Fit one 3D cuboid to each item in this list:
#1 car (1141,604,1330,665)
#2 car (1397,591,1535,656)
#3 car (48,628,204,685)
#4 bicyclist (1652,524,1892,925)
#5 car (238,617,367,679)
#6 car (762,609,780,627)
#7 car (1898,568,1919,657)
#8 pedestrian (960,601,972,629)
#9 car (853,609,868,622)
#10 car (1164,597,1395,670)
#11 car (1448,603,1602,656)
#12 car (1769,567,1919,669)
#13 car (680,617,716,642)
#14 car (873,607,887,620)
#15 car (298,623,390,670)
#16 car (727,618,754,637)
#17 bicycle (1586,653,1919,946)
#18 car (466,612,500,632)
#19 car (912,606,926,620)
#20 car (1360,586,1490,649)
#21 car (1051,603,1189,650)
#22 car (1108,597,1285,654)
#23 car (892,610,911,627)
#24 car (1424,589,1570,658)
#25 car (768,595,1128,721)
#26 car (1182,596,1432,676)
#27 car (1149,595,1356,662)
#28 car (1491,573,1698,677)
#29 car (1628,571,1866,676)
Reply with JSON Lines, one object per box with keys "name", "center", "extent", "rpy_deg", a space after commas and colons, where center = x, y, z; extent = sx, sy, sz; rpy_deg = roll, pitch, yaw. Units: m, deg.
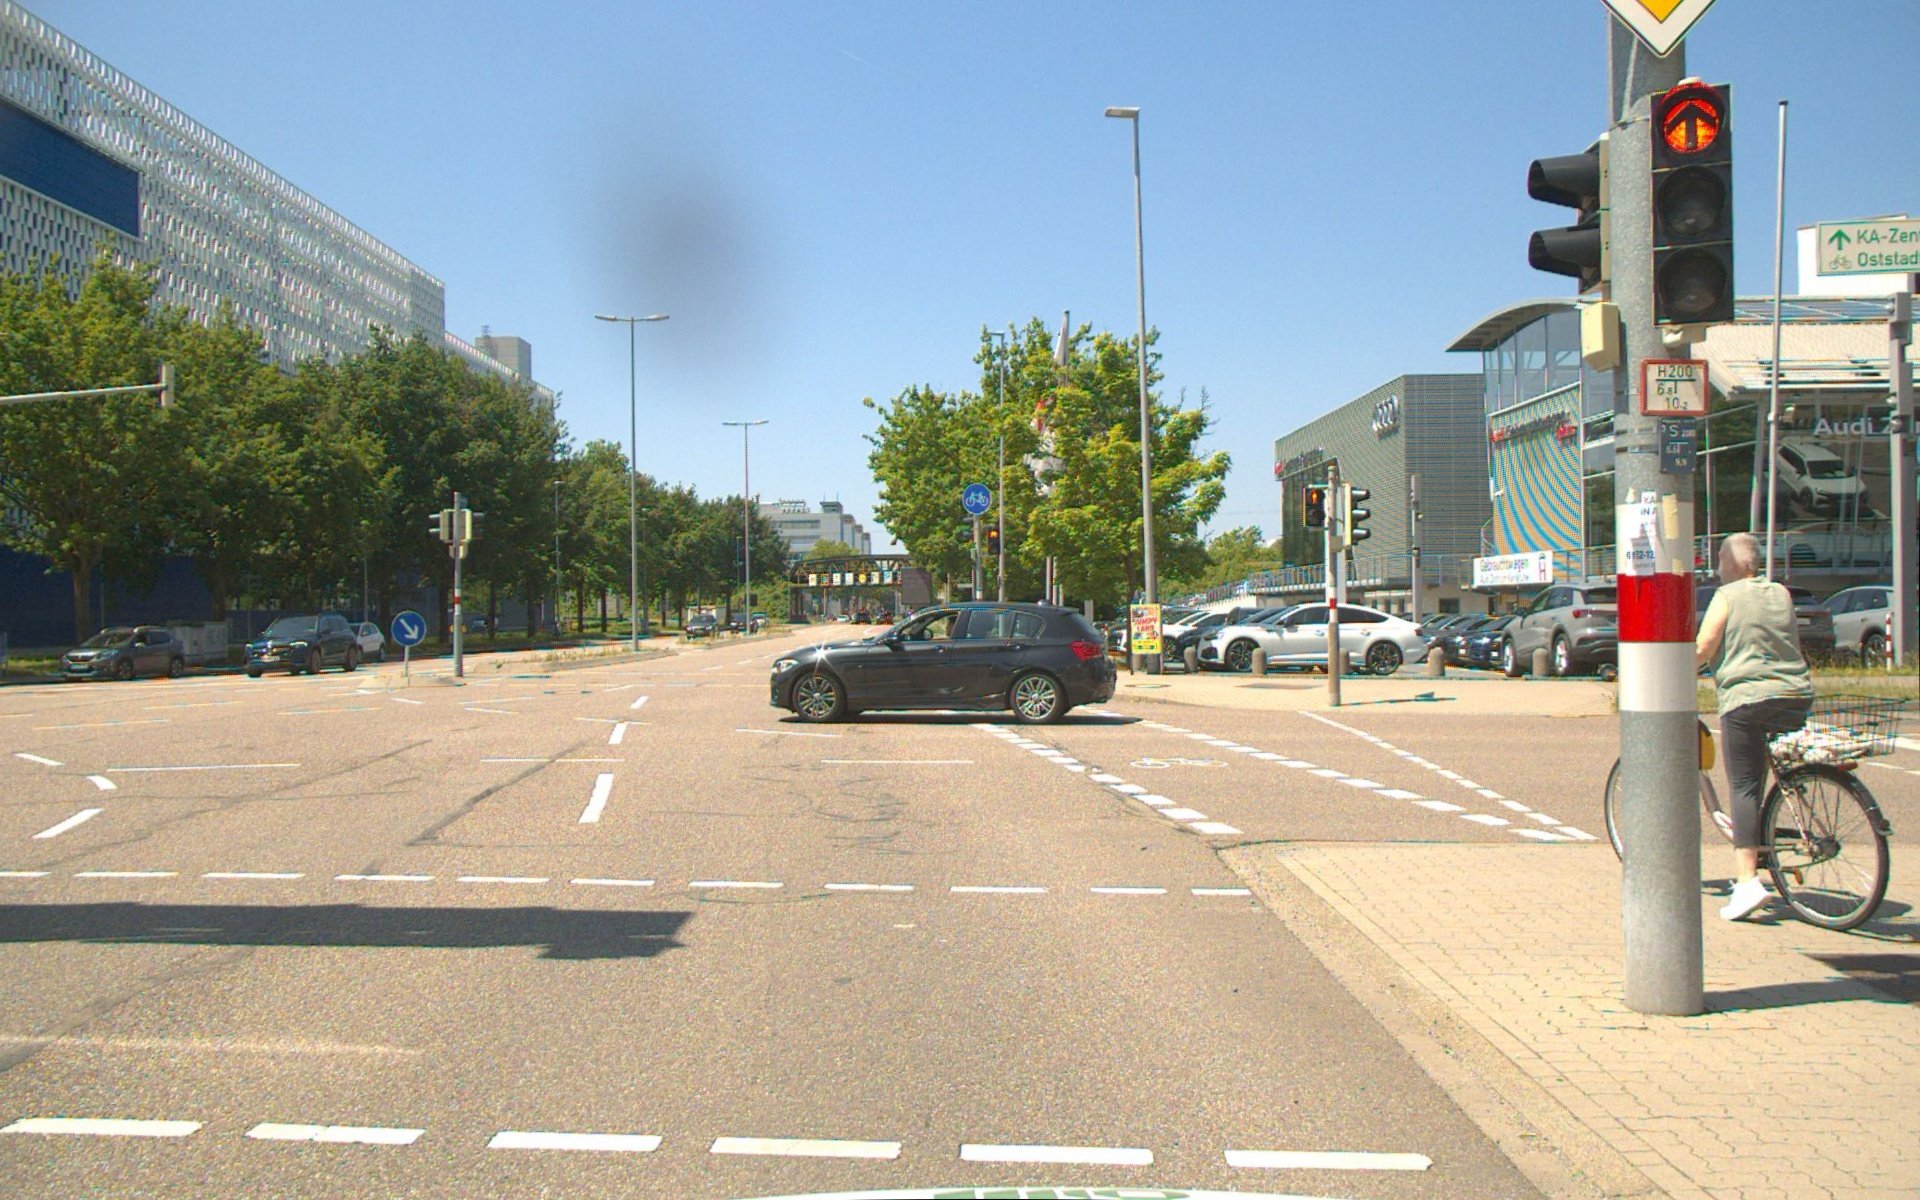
{"name": "car", "center": [7.264, 0.888, 43.893], "extent": [4.646, 1.482, 1.999], "rpy_deg": [-1, 0, -3]}
{"name": "car", "center": [16.667, 0.763, 54.618], "extent": [3.905, 2.049, 2.000], "rpy_deg": [-1, 0, 0]}
{"name": "car", "center": [-23.979, 1.600, 47.674], "extent": [1.735, 1.560, 3.750], "rpy_deg": [-2, -2, 26]}
{"name": "bicyclist", "center": [3.779, 0.552, 7.750], "extent": [0.719, 1.779, 0.753], "rpy_deg": [0, 0, -5]}
{"name": "car", "center": [-18.274, 1.299, 46.190], "extent": [1.837, 1.626, 4.495], "rpy_deg": [-1, -1, -1]}
{"name": "car", "center": [-18.932, 1.785, 166.032], "extent": [1.617, 1.682, 4.159], "rpy_deg": [-1, 0, -5]}
{"name": "car", "center": [18.844, 0.227, 29.280], "extent": [1.847, 1.668, 4.524], "rpy_deg": [-1, 0, -1]}
{"name": "pedestrian", "center": [0.332, 0.854, 94.305], "extent": [0.654, 1.537, 0.736], "rpy_deg": [-1, 0, -1]}
{"name": "car", "center": [-13.539, 2.159, 225.189], "extent": [1.736, 1.758, 3.999], "rpy_deg": [-1, -1, -1]}
{"name": "car", "center": [6.883, 0.737, 36.005], "extent": [4.643, 1.482, 2.000], "rpy_deg": [-1, -1, 1]}
{"name": "car", "center": [16.862, 0.872, 49.463], "extent": [4.008, 1.486, 1.719], "rpy_deg": [-1, 0, 0]}
{"name": "car", "center": [16.478, 0.257, 29.385], "extent": [1.953, 1.668, 4.440], "rpy_deg": [-1, 0, -1]}
{"name": "car", "center": [-16.405, 1.830, 103.639], "extent": [1.697, 1.452, 3.705], "rpy_deg": [-3, -1, -1]}
{"name": "car", "center": [-10.631, 1.820, 219.793], "extent": [1.736, 1.758, 3.999], "rpy_deg": [-1, -1, -1]}
{"name": "car", "center": [-23.772, 1.785, 63.991], "extent": [1.886, 1.694, 4.089], "rpy_deg": [-1, -1, 2]}
{"name": "car", "center": [-16.847, 2.087, 127.161], "extent": [1.650, 1.436, 3.664], "rpy_deg": [-1, -1, -1]}
{"name": "bicycle", "center": [3.795, 0.864, 7.895], "extent": [0.771, 1.147, 1.919], "rpy_deg": [0, 0, -4]}
{"name": "car", "center": [-46.701, 2.164, 162.031], "extent": [1.952, 1.842, 4.030], "rpy_deg": [1, 0, 2]}
{"name": "car", "center": [-5.440, 1.768, 220.602], "extent": [1.736, 1.758, 3.999], "rpy_deg": [-1, -1, -1]}
{"name": "car", "center": [15.971, 0.584, 56.970], "extent": [3.905, 2.049, 2.000], "rpy_deg": [-1, 0, 0]}
{"name": "car", "center": [5.659, 0.928, 58.873], "extent": [4.646, 1.482, 1.999], "rpy_deg": [-2, 0, -3]}
{"name": "car", "center": [6.618, 0.708, 46.642], "extent": [4.646, 1.482, 1.999], "rpy_deg": [-1, 0, -3]}
{"name": "car", "center": [-3.724, 1.174, 105.269], "extent": [1.114, 1.060, 2.308], "rpy_deg": [-1, 0, -1]}
{"name": "car", "center": [16.776, 0.721, 51.804], "extent": [3.905, 2.049, 2.000], "rpy_deg": [-1, 0, 0]}
{"name": "car", "center": [-0.096, 0.692, 20.071], "extent": [4.132, 1.436, 1.673], "rpy_deg": [-1, -1, 9]}
{"name": "car", "center": [6.915, 0.699, 33.371], "extent": [4.643, 1.482, 2.000], "rpy_deg": [-1, 0, 1]}
{"name": "car", "center": [6.982, 0.667, 39.813], "extent": [4.643, 1.482, 2.000], "rpy_deg": [-1, 0, 1]}
{"name": "car", "center": [11.052, 0.385, 29.143], "extent": [1.953, 1.668, 4.267], "rpy_deg": [-1, 0, -1]}
{"name": "car", "center": [13.685, 0.363, 29.098], "extent": [1.953, 1.668, 4.557], "rpy_deg": [-1, 0, -1]}
